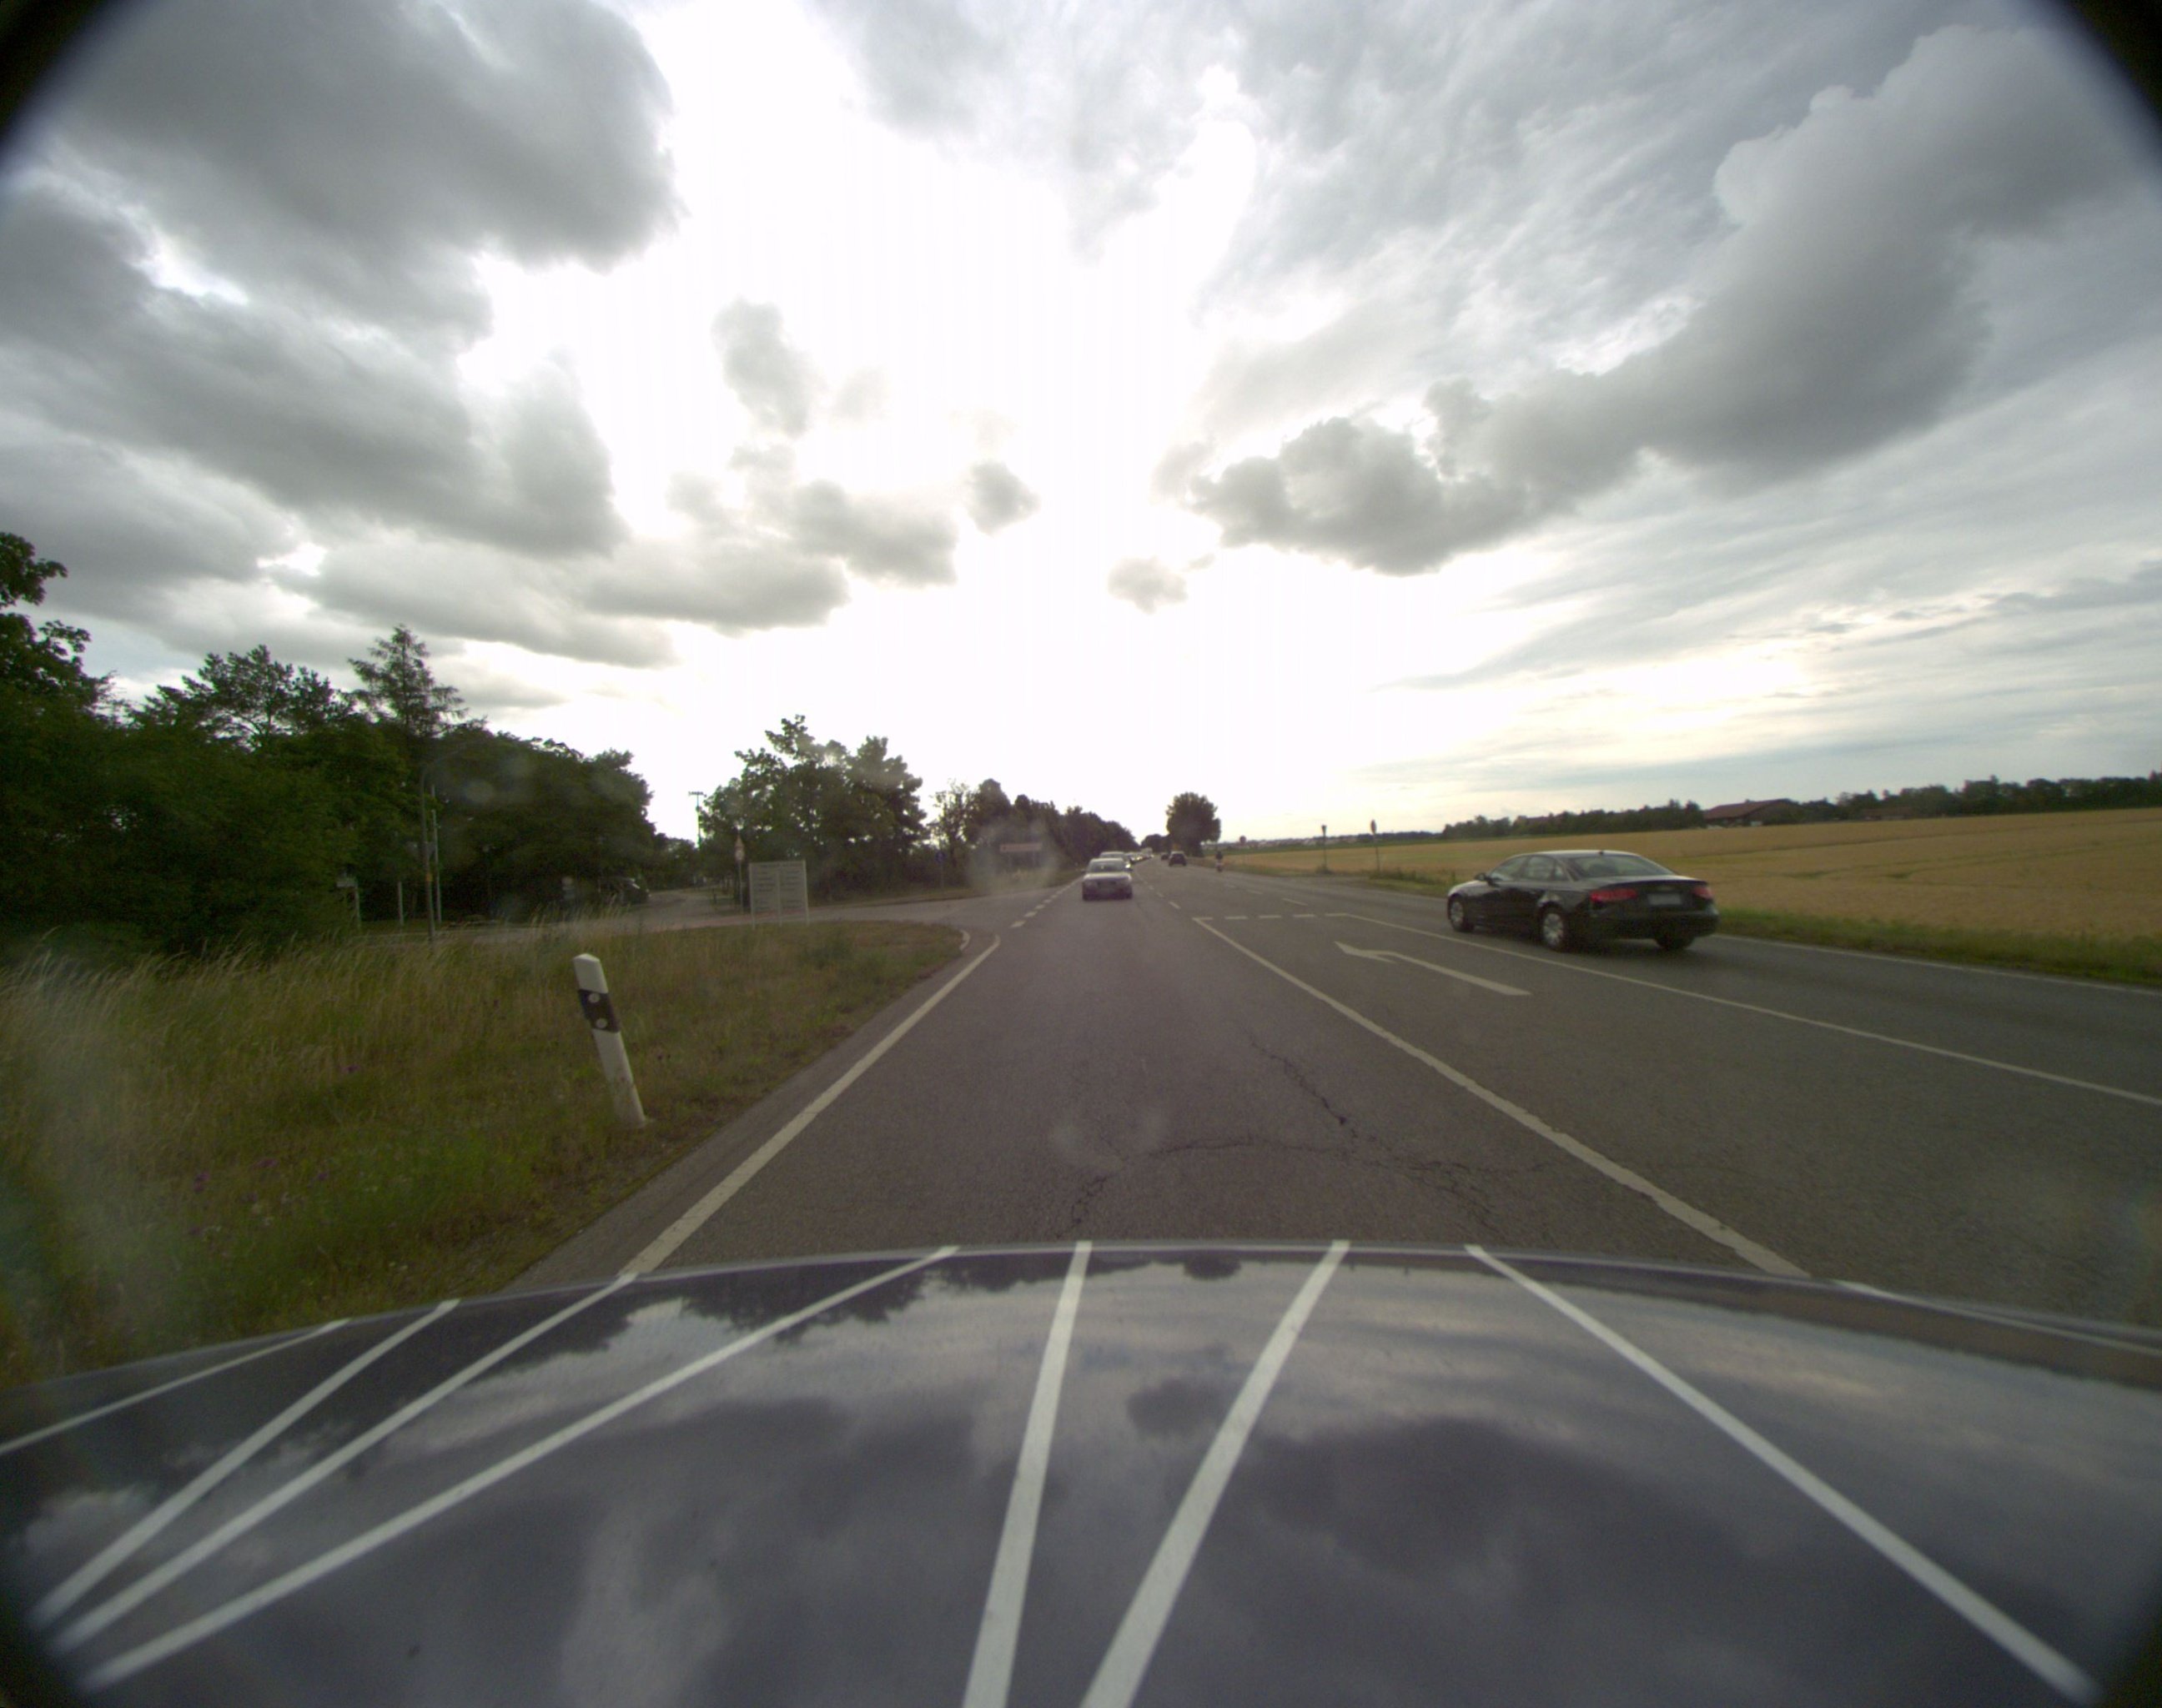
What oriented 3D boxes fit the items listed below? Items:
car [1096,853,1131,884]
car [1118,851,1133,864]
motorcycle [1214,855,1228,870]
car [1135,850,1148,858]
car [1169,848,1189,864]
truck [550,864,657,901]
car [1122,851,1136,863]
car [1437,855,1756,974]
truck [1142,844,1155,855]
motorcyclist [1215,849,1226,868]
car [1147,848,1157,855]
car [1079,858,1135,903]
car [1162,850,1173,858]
[{"bbox_3d":[1.785,0.753,42.200,1.793,1.573,4.368,-2,0,2],"label":"car"},{"bbox_3d":[5.637,0.423,95.855,1.793,1.573,4.368,-2,0,4],"label":"car"},{"bbox_3d":[10.634,0.647,57.869,0.727,1.142,2.024,-2,0,3],"label":"motorcycle"},{"bbox_3d":[12.123,-0.048,152.148,1.953,1.573,4.140,-2,0,10],"label":"car"},{"bbox_3d":[11.251,0.215,87.457,1.951,1.684,4.447,-2,1,4],"label":"car"},{"bbox_3d":[-46.054,2.679,73.658,8.382,3.092,3.067,-3,1,-25],"label":"truck"},{"bbox_3d":[6.783,0.392,106.893,1.793,1.573,4.188,-2,0,4],"label":"car"},{"bbox_3d":[7.398,0.751,11.580,1.831,1.402,4.423,-2,0,0],"label":"car"},{"bbox_3d":[18.076,-1.289,202.868,2.318,2.749,7.679,-2,0,13],"label":"truck"},{"bbox_3d":[10.625,0.333,57.823,0.641,1.376,0.809,-2,1,3],"label":"motorcyclist"},{"bbox_3d":[17.271,-0.636,184.645,1.792,1.531,4.140,-2,0,10],"label":"car"},{"bbox_3d":[1.031,0.920,27.814,1.793,1.415,4.368,-2,0,5],"label":"car"},{"bbox_3d":[17.432,-0.015,153.716,1.997,1.501,4.003,-1,0,10],"label":"car"}]
